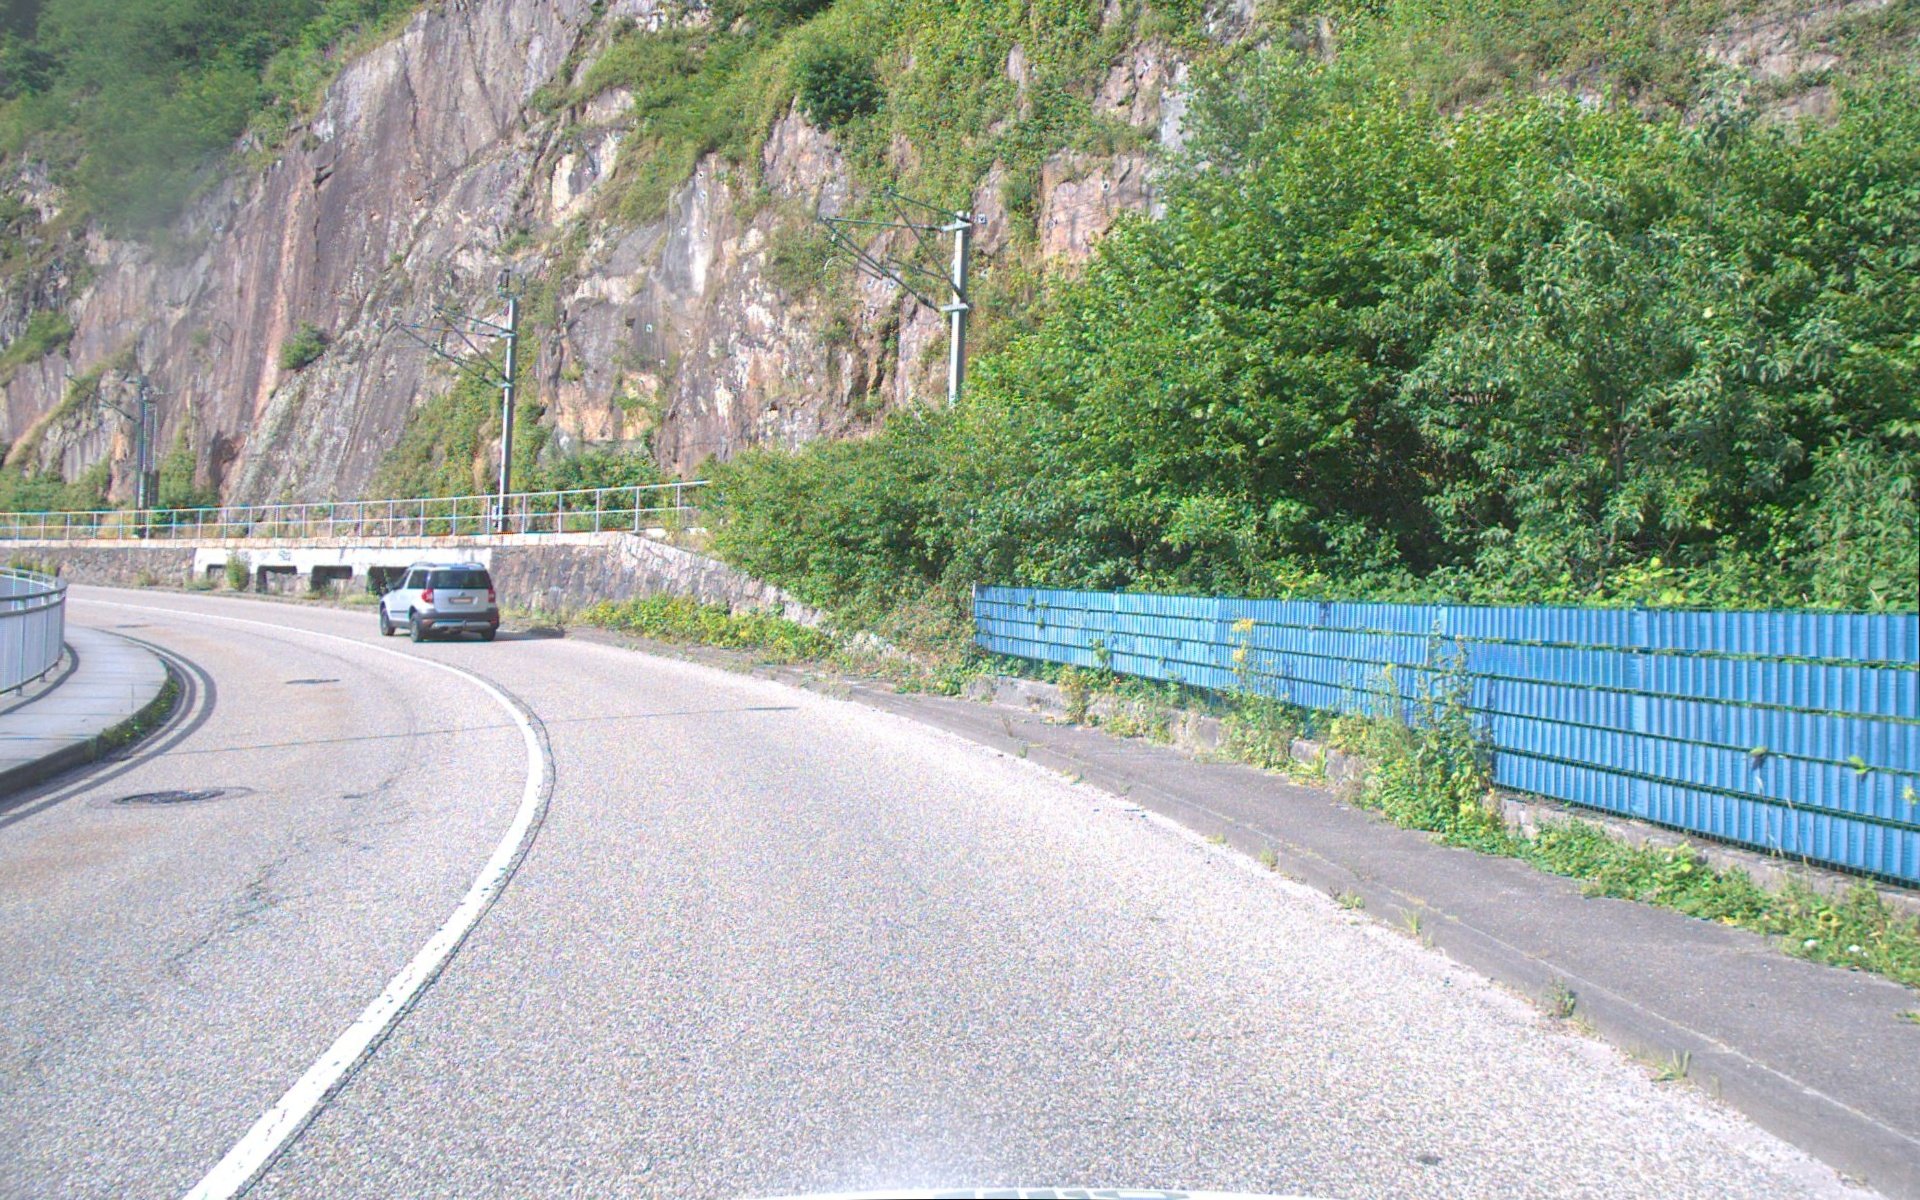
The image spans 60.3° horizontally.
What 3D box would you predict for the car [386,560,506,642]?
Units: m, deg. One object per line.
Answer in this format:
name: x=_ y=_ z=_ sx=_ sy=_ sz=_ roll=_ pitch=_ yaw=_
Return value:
car: x=-11.391 y=-0.011 z=36.517 sx=1.851 sy=1.684 sz=3.964 roll=-1 pitch=1 yaw=-28
